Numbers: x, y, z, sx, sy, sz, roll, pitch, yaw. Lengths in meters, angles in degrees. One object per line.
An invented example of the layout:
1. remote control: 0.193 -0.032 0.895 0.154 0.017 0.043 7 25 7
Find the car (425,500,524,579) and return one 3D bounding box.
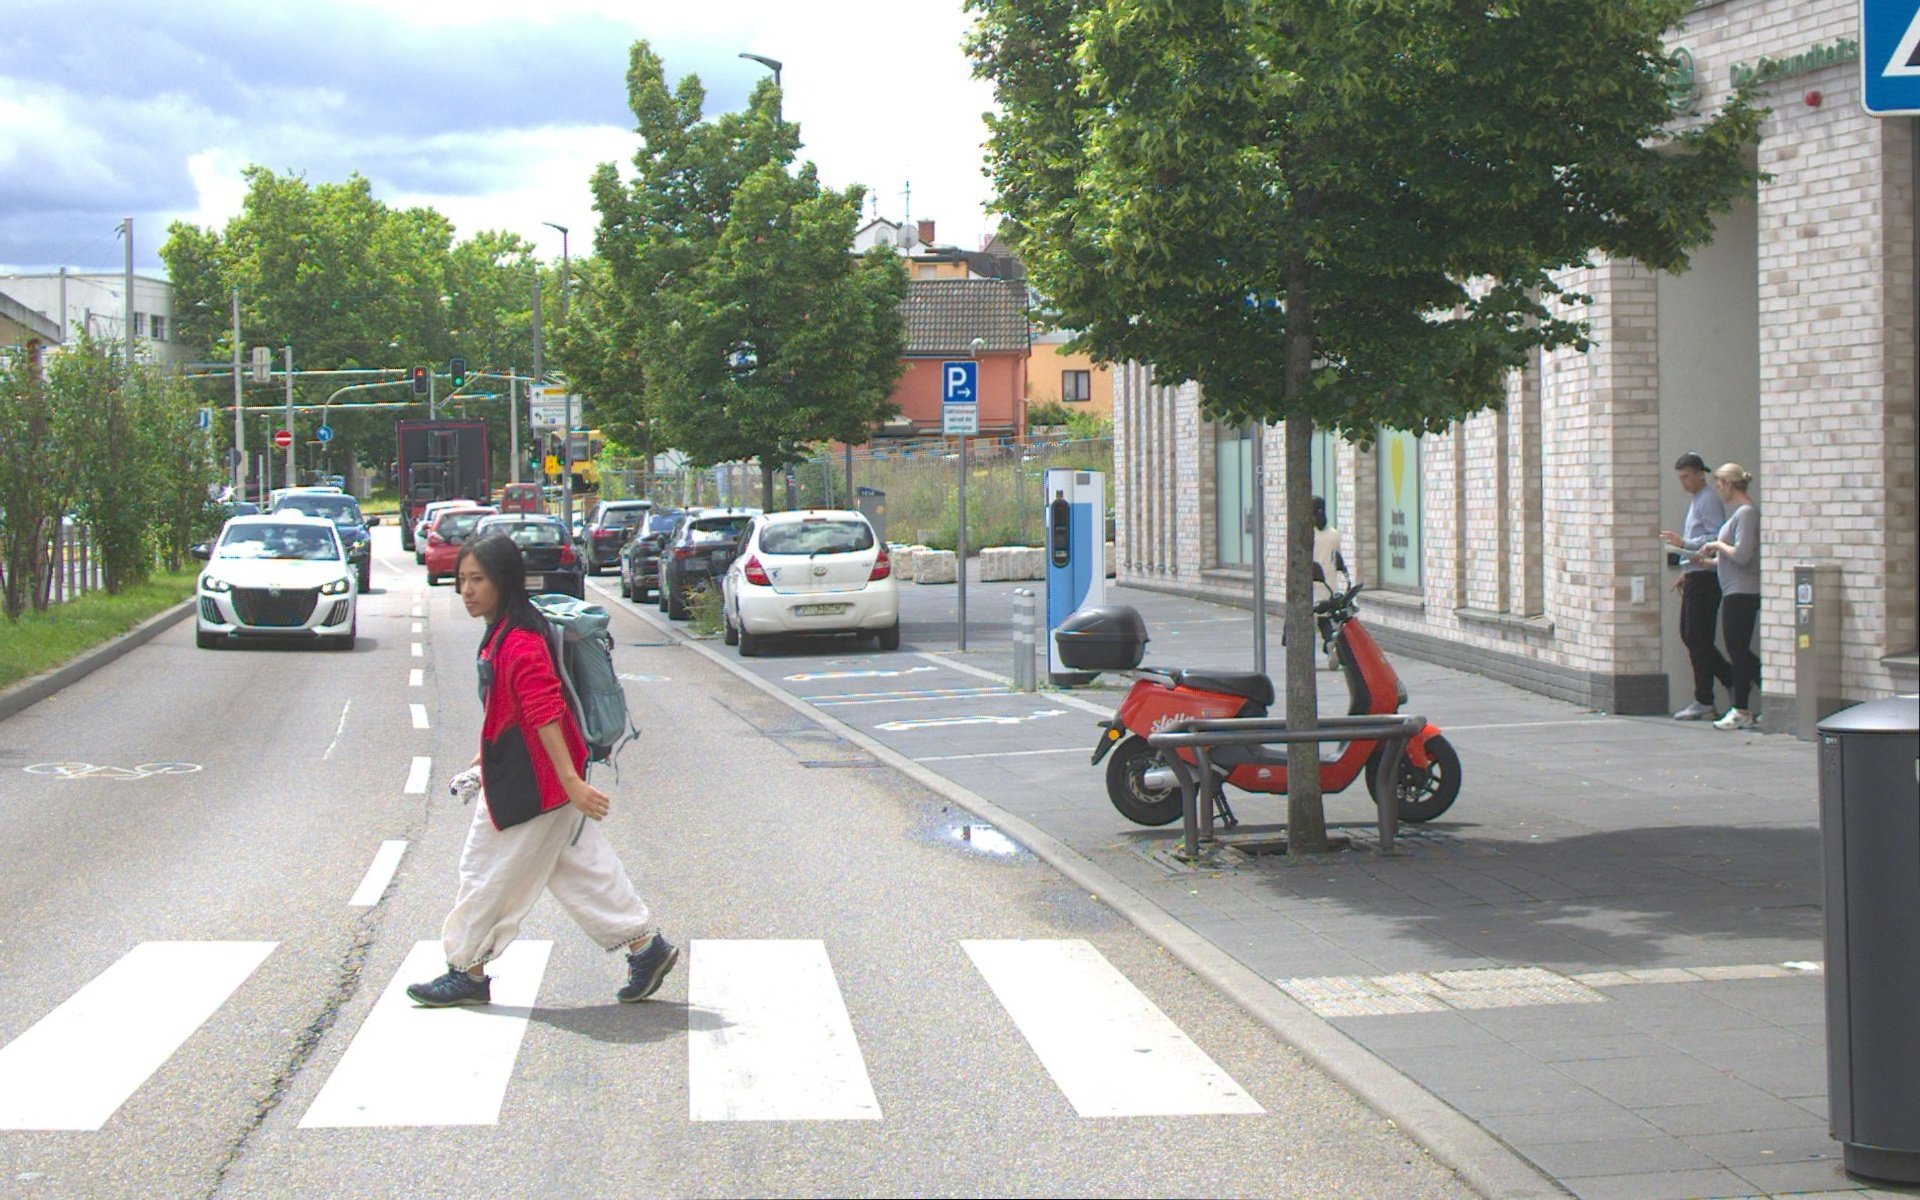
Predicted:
1. car: -9.252 -1.176 65.307 1.711 1.388 3.810 -2 2 -10

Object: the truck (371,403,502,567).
1. truck: -15.351 -3.232 100.306 3.202 4.520 9.031 0 0 -12

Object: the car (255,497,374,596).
1. car: -11.015 -0.936 58.725 1.919 1.599 4.628 1 1 -10

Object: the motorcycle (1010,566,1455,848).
1. motorcycle: 1.330 0.511 16.651 2.051 1.261 0.672 -2 1 10

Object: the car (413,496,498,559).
1. car: -12.370 -1.774 84.134 1.887 1.460 4.070 -2 1 -10

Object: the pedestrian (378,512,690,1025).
1. pedestrian: -1.367 0.517 10.923 0.927 1.560 0.815 1 0 -10

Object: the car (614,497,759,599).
1. car: -4.268 -0.833 53.031 1.864 1.446 4.645 -2 2 -8

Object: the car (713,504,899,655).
1. car: -1.723 -0.266 37.320 1.692 1.478 3.798 -2 2 -7

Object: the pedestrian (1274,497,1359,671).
1. pedestrian: 3.090 -0.146 29.841 0.607 1.467 0.791 -2 2 0

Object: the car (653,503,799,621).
1. car: -3.216 -0.552 46.583 1.692 1.456 4.148 -2 2 -7

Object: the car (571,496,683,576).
1. car: -6.585 -1.281 67.634 1.781 1.446 4.477 -2 2 -10

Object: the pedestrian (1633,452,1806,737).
1. pedestrian: 4.819 -0.041 21.844 0.732 1.760 0.758 -2 0 -22

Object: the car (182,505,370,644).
1. car: -7.605 -0.319 38.515 1.811 1.464 3.909 1 1 -8

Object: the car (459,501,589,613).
1. car: -6.211 -0.638 48.803 1.726 1.451 3.810 -1 2 -8

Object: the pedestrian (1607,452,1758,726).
1. pedestrian: 4.753 -0.075 22.627 0.735 1.760 0.624 -1 0 -15
